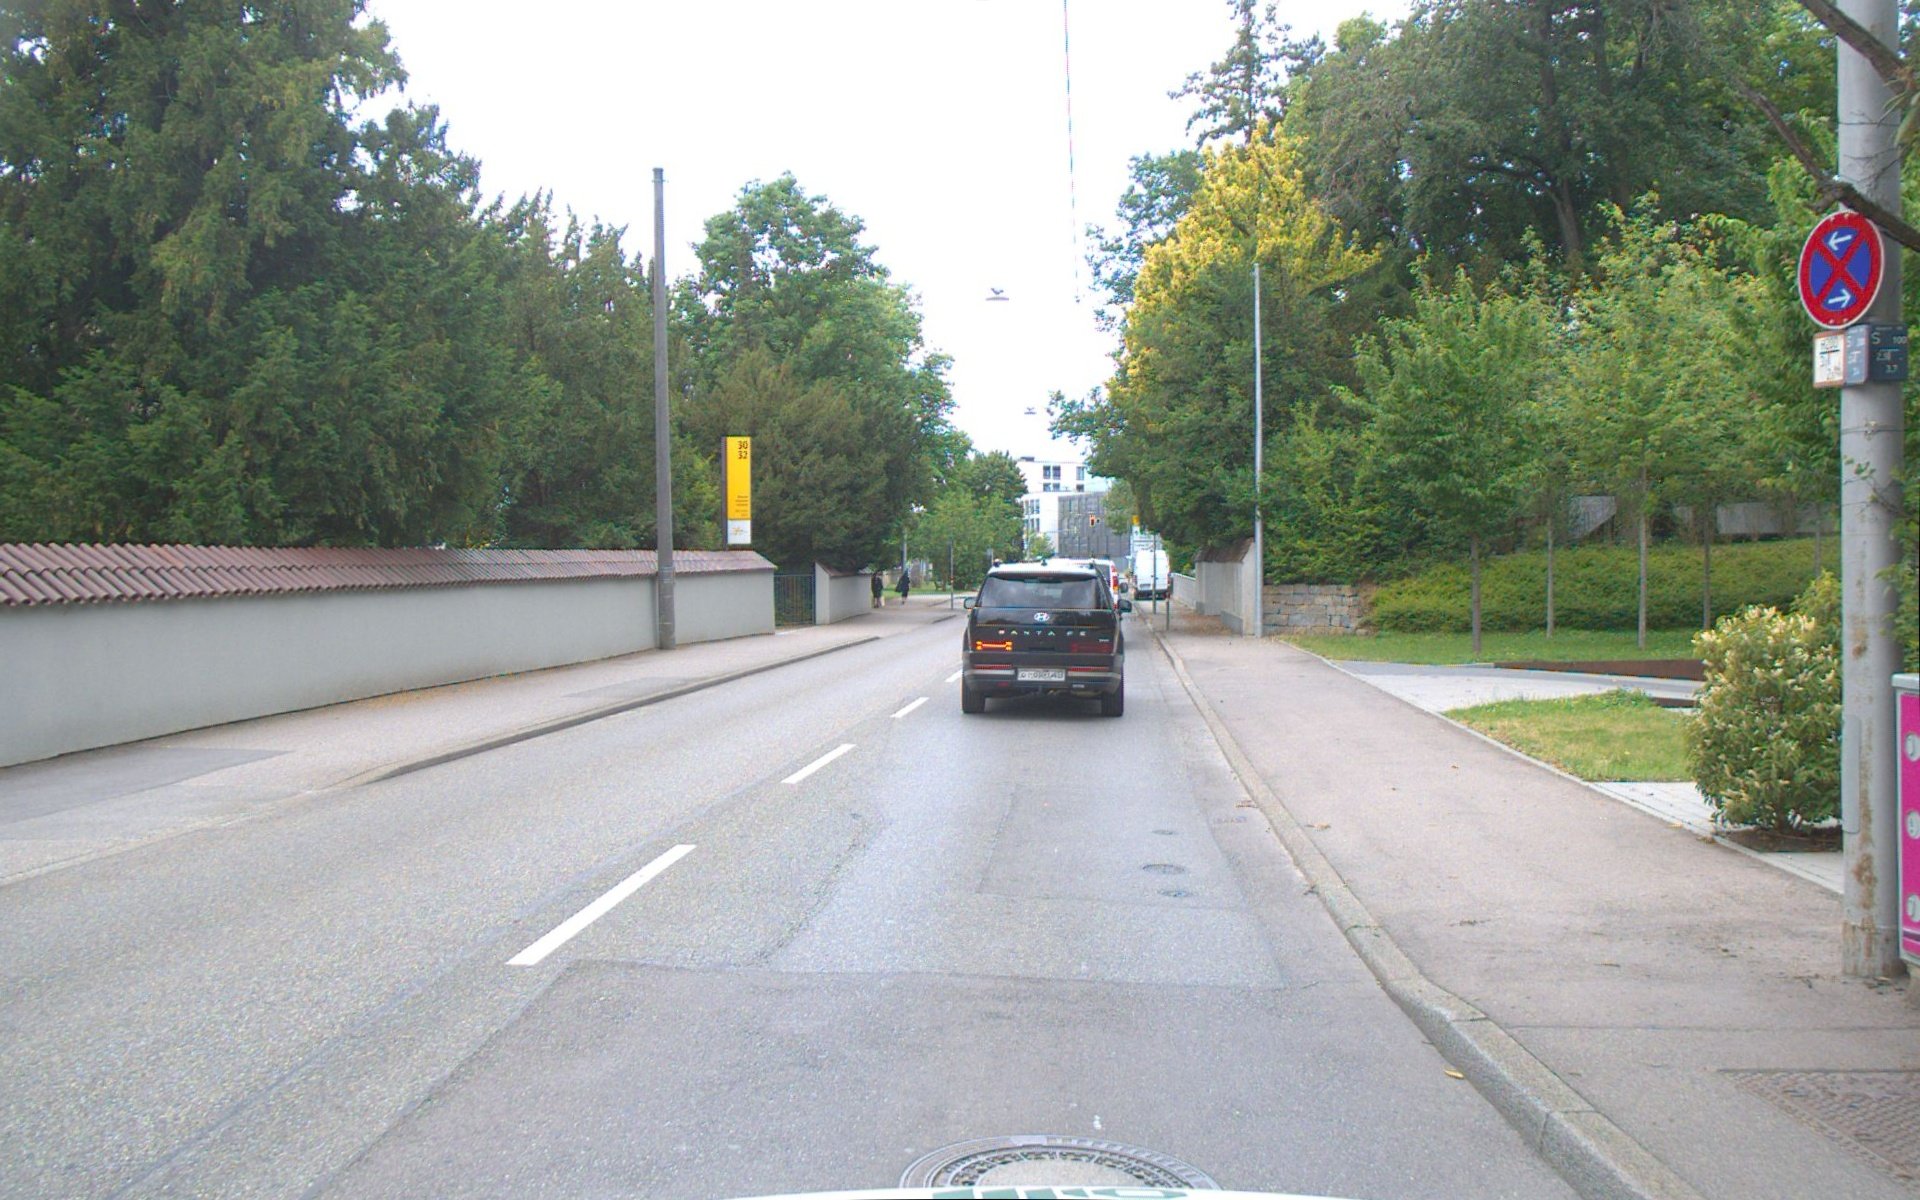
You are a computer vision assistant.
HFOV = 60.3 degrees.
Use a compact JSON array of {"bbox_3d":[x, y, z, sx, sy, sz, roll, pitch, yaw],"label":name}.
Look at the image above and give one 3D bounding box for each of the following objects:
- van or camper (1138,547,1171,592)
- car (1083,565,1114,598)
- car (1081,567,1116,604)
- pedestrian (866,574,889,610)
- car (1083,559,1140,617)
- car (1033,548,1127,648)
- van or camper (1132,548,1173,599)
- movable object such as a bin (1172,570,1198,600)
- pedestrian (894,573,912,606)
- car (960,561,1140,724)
[{"bbox_3d":[13.074,-2.070,111.476,1.922,2.845,5.290,-2,1,5],"label":"van or camper"},{"bbox_3d":[8.876,-1.151,106.294,1.922,2.036,4.002,-1,0,5],"label":"car"},{"bbox_3d":[7.923,-0.843,94.746,1.922,2.036,4.002,-1,0,5],"label":"car"},{"bbox_3d":[-3.660,-0.350,73.346,0.906,1.588,0.902,2,0,1],"label":"pedestrian"},{"bbox_3d":[5.408,-0.420,59.070,1.922,1.936,4.002,-1,0,5],"label":"car"},{"bbox_3d":[2.686,-0.062,36.675,1.922,2.036,4.003,-1,1,5],"label":"car"},{"bbox_3d":[10.754,-1.512,92.776,1.922,2.673,6.363,-3,1,5],"label":"van or camper"},{"bbox_3d":[11.396,-0.772,83.806,1.272,1.476,1.181,-1,0,5],"label":"movable object such as a bin"},{"bbox_3d":[-2.771,-0.506,80.931,0.733,1.605,0.967,1,1,5],"label":"pedestrian"},{"bbox_3d":[1.070,0.415,19.976,1.923,1.741,4.002,1,1,3],"label":"car"}]
